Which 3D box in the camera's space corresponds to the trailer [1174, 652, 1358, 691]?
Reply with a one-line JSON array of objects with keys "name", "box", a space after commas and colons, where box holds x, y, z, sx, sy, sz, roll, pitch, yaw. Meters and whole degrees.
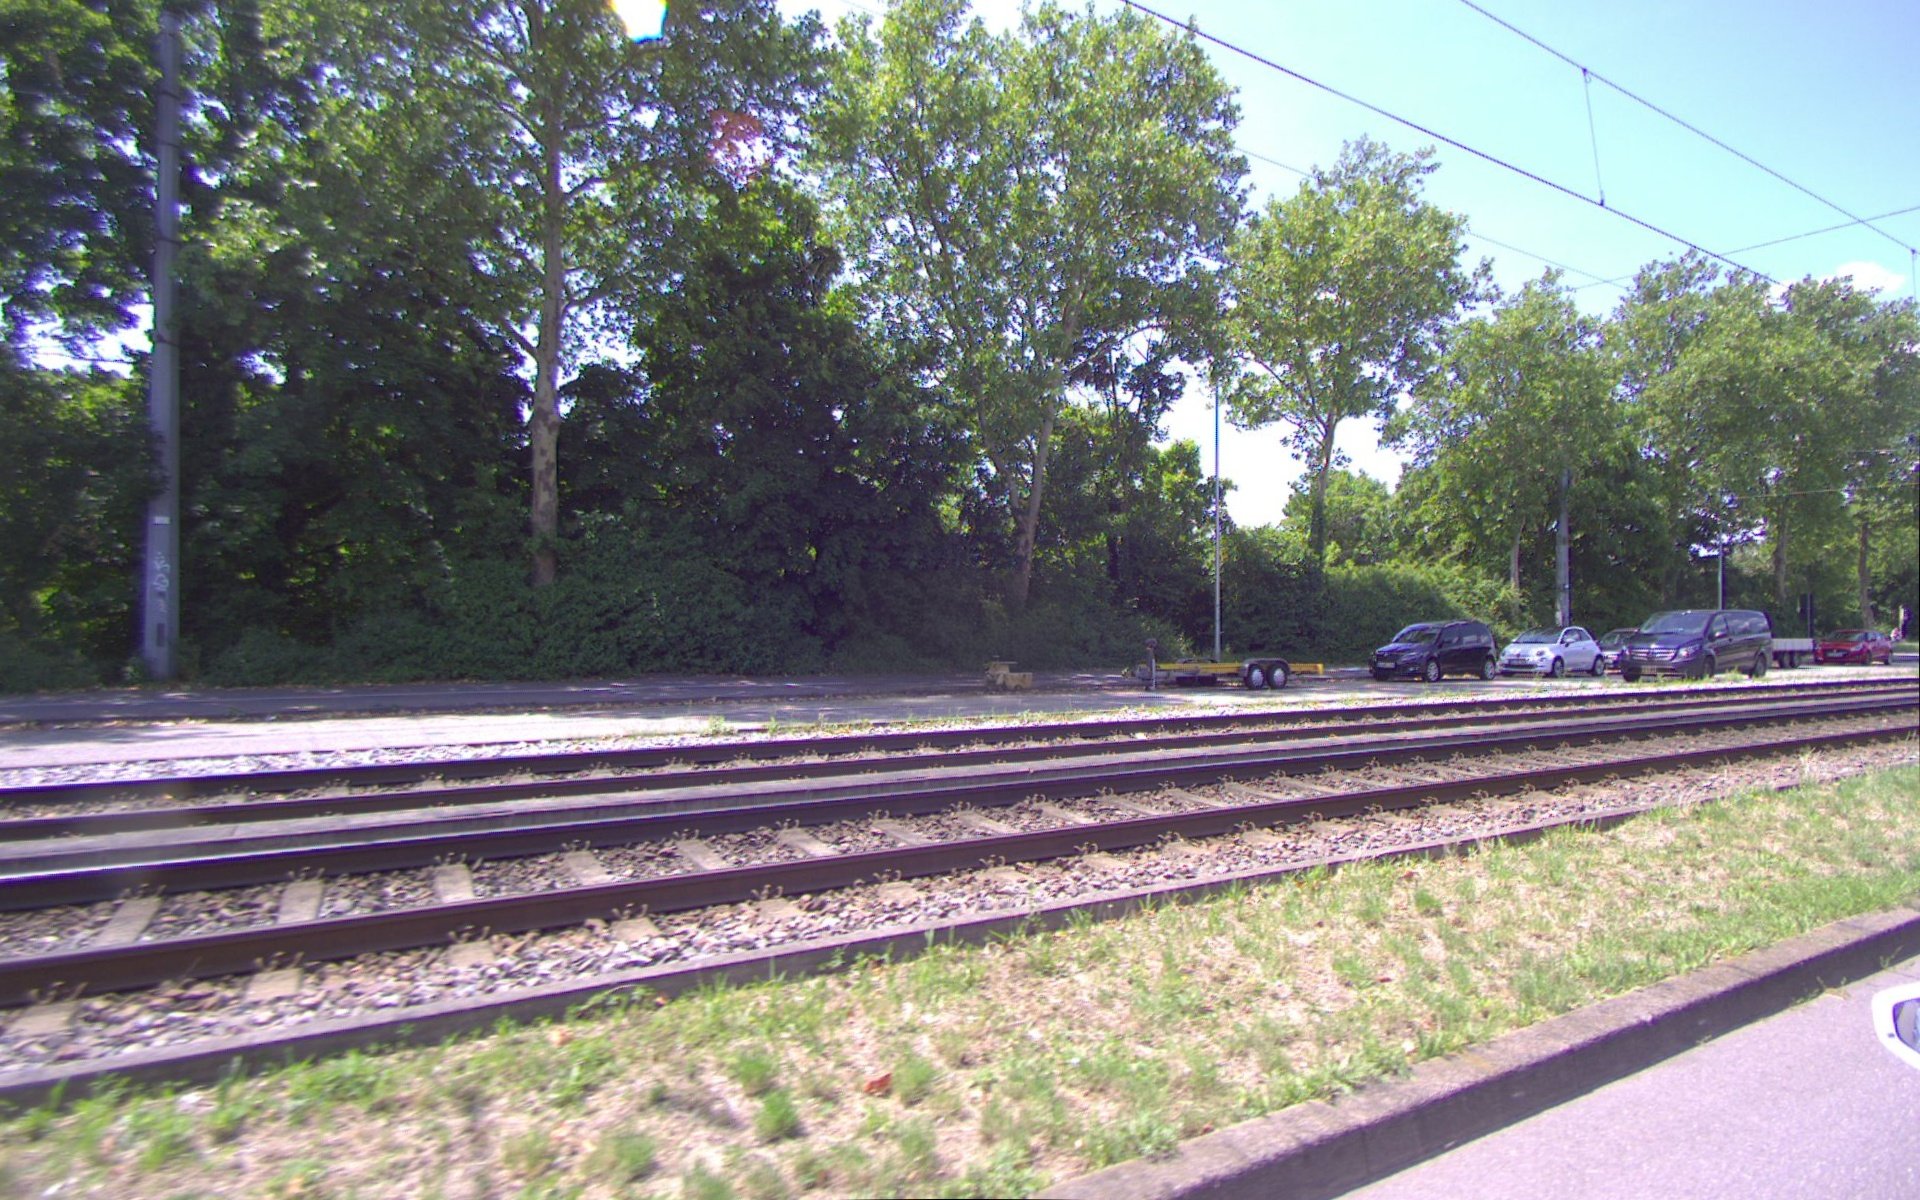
[{"name": "trailer", "box": [7.158, 1.641, 23.424, 3.954, 0.752, 1.984, 2, -1, -31]}]

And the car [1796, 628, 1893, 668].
[{"name": "car", "box": [37.556, 2.001, 42.642, 3.954, 1.595, 1.984, 1, 0, -31]}]

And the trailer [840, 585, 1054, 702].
[{"name": "trailer", "box": [-0.209, 0.774, 19.373, 3.874, 2.041, 1.600, 0, 1, -33]}]

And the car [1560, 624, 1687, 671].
[{"name": "car", "box": [21.801, 1.515, 32.955, 4.369, 1.419, 1.860, 1, 0, -32]}]

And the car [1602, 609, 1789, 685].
[{"name": "car", "box": [19.691, 1.201, 26.836, 5.342, 1.814, 2.106, 1, 0, -31]}]

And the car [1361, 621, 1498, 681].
[{"name": "car", "box": [12.556, 1.326, 26.781, 3.877, 1.471, 1.426, 1, 0, -32]}]

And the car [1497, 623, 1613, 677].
[{"name": "car", "box": [17.809, 1.464, 30.021, 3.699, 1.471, 1.426, 1, 0, -32]}]

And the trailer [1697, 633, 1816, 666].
[{"name": "trailer", "box": [30.048, 1.833, 37.848, 5.046, 1.058, 1.883, 1, 1, -32]}]
